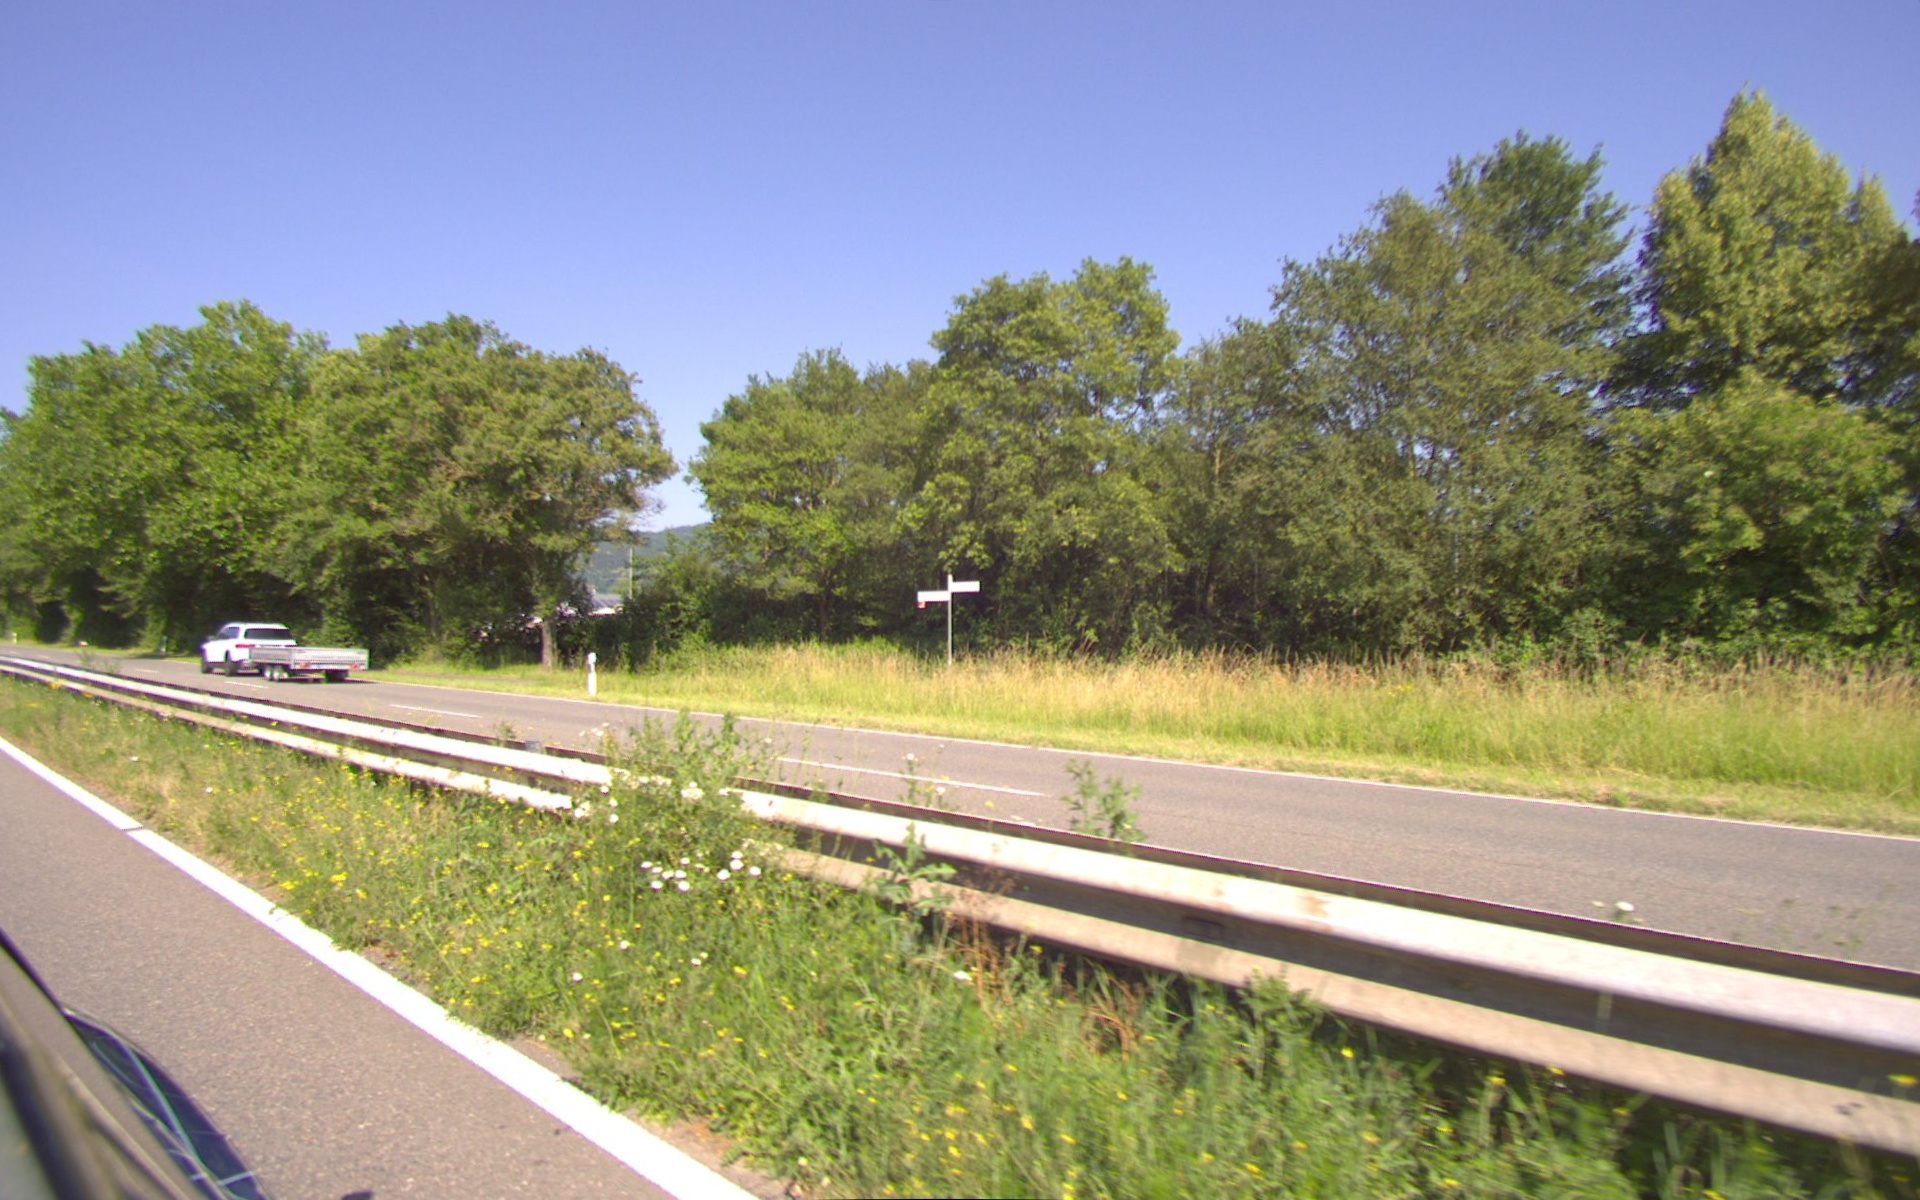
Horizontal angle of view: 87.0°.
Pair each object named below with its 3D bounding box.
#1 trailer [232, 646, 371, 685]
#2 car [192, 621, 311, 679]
[{"bbox_3d":[-18.879,1.824,28.902,5.596,0.968,1.943,-2,-4,42],"label":"trailer"},{"bbox_3d":[-22.736,1.567,32.409,4.811,1.713,1.972,-1,-4,41],"label":"car"}]
